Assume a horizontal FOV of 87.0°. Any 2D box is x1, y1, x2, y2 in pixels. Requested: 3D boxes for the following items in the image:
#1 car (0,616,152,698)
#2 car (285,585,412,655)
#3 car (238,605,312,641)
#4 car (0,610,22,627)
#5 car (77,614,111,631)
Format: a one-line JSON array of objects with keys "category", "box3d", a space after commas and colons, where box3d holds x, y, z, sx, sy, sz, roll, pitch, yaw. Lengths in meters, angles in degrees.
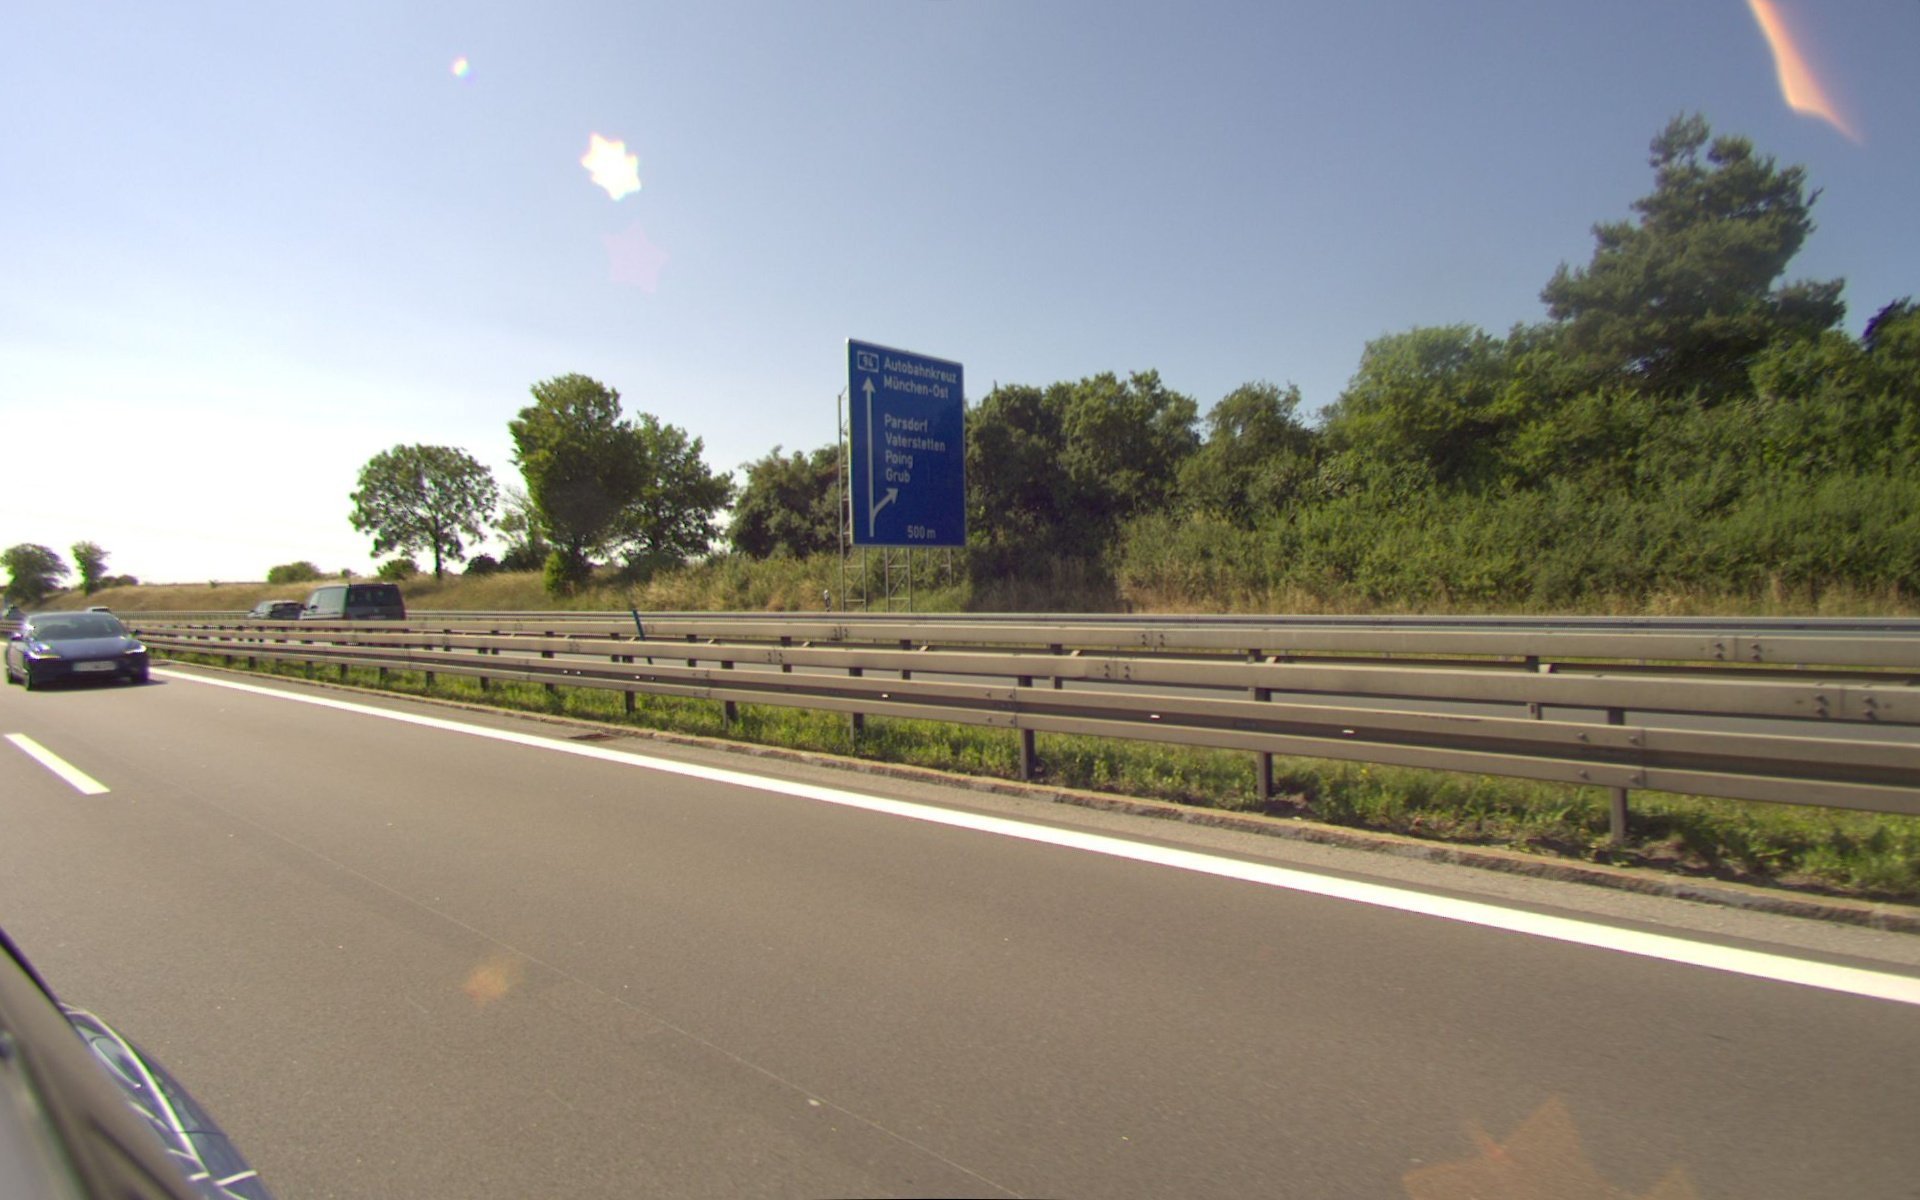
[{"category": "car", "box3d": [-18.402, 1.067, 20.863, 5.864, 1.443, 1.827, -1, 0, 42]}, {"category": "car", "box3d": [-19.345, 0.604, 31.921, 5.037, 1.987, 1.973, -1, 1, 42]}, {"category": "car", "box3d": [-34.027, 1.128, 50.246, 4.486, 1.624, 1.973, -1, 1, 42]}, {"category": "car", "box3d": [-110.099, 2.117, 117.029, 5.182, 1.859, 1.925, -1, 2, 42]}, {"category": "car", "box3d": [-71.323, 1.850, 83.338, 4.231, 1.362, 1.506, -1, 1, 42]}]
